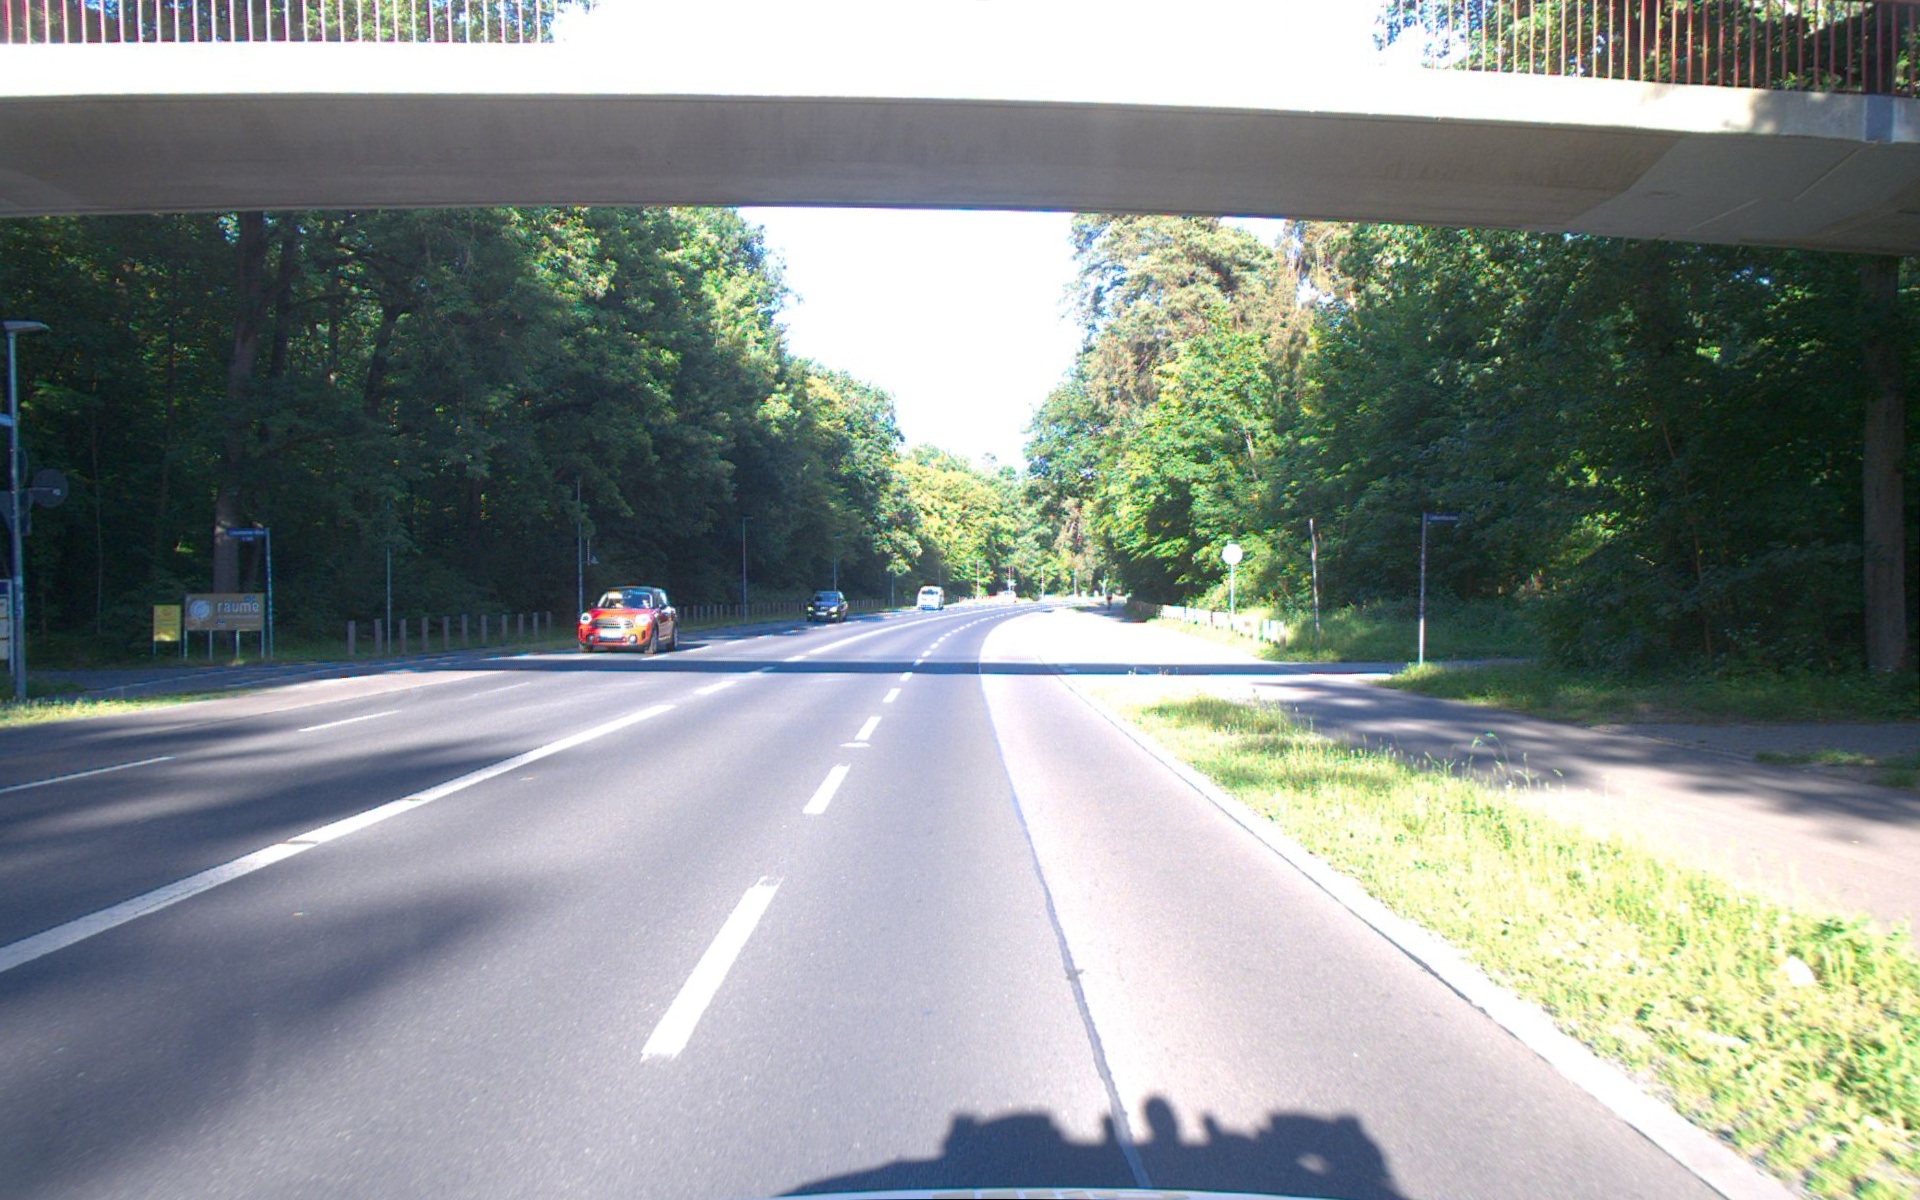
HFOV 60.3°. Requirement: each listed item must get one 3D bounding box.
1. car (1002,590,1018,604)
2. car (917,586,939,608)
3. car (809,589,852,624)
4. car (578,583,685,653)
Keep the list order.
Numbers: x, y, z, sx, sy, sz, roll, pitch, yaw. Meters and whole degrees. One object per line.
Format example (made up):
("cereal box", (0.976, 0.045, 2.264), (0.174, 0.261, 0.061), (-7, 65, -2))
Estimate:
("car", (6.248, -0.336, 206.437), (1.746, 1.739, 4.003), (0, 0, 5))
("car", (-2.557, -0.237, 133.785), (1.670, 1.739, 4.000), (0, 0, 0))
("car", (-6.335, 0.284, 81.216), (1.687, 1.601, 4.178), (1, 1, 1))
("car", (-8.019, 0.400, 40.702), (1.725, 1.610, 4.169), (1, 0, 1))
